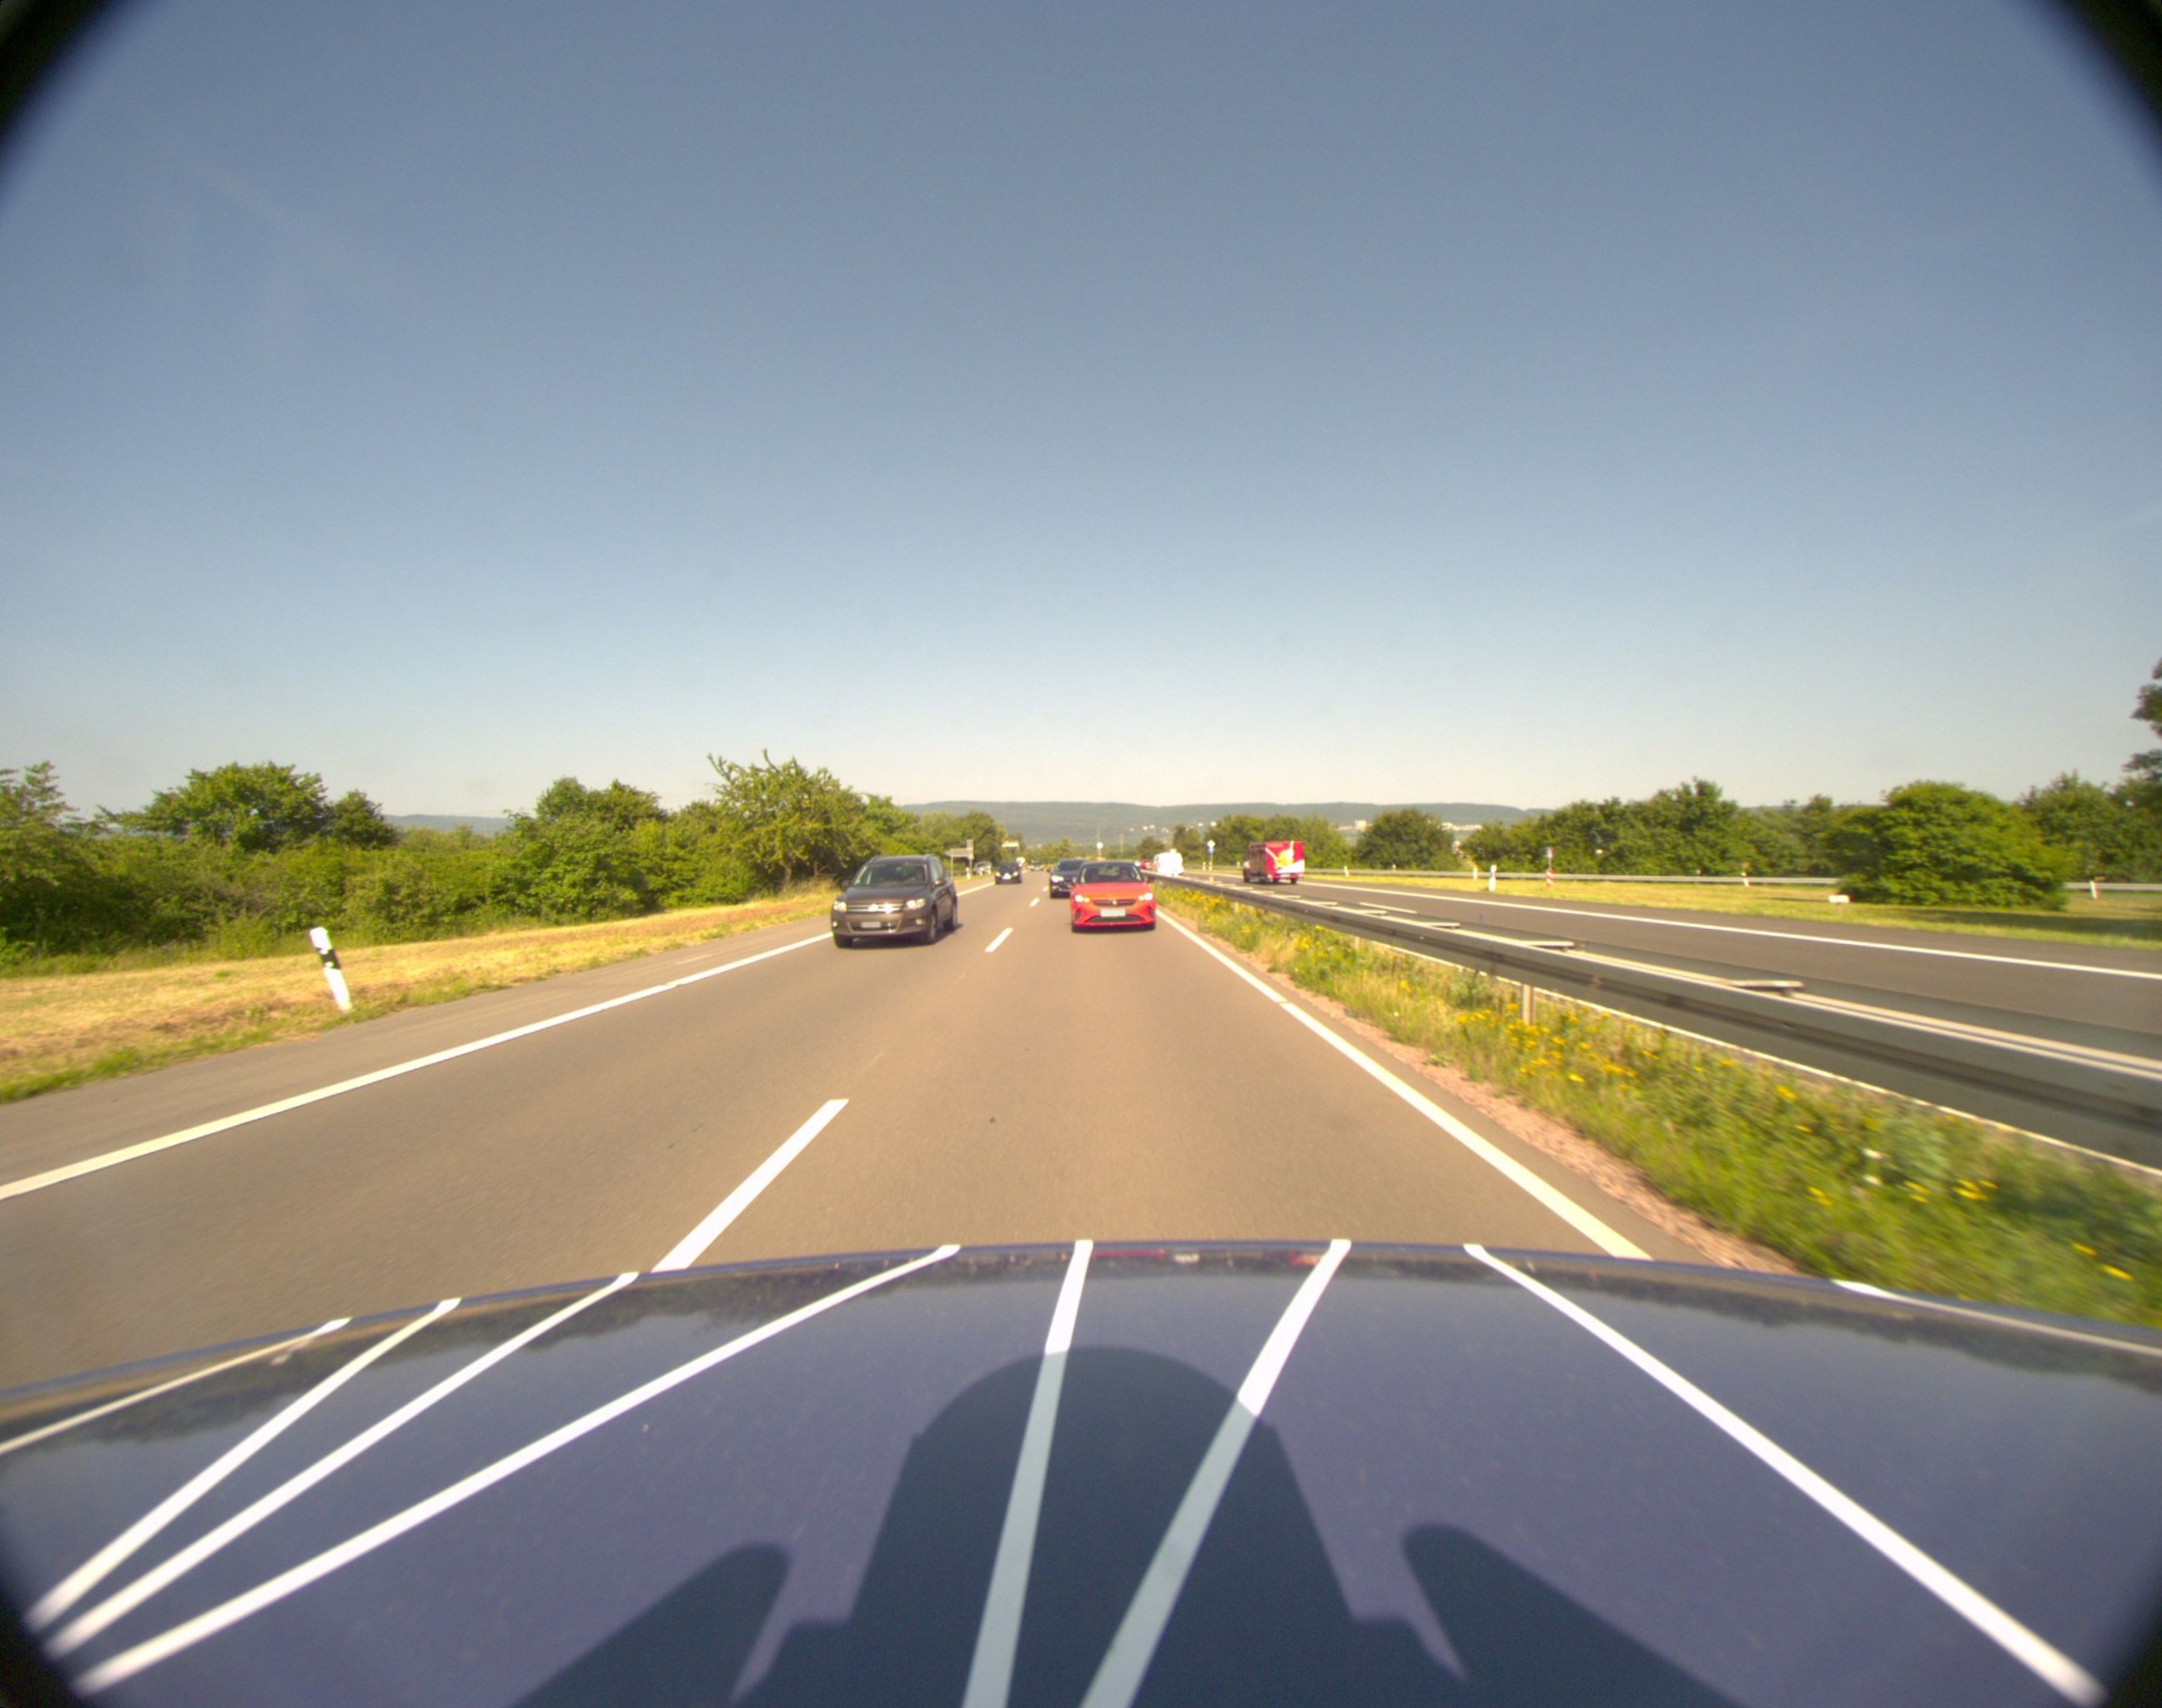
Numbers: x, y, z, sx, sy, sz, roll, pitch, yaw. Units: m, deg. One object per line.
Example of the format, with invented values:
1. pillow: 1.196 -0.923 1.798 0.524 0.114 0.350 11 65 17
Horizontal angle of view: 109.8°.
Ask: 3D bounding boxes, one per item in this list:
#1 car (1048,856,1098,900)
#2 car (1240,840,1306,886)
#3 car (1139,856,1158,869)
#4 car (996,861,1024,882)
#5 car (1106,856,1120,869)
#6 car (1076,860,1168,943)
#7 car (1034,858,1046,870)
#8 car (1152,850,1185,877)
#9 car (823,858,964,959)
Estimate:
1. car: -0.267 0.876 29.743 1.788 1.524 4.375 -2 0 0
2. car: 10.786 0.437 43.170 2.119 2.361 5.880 -2 1 0
3. car: 9.091 1.109 102.805 1.999 1.630 3.999 -2 1 -1
4. car: -4.627 1.115 49.805 1.601 1.241 3.998 -2 1 -2
5. car: 4.585 1.174 109.770 1.864 1.656 3.999 -2 1 0
6. car: 0.827 0.926 16.698 1.713 1.429 4.411 -2 1 1
7. car: -6.301 1.543 116.765 1.768 1.652 3.999 -2 1 -1
8. car: 6.998 0.713 60.963 1.999 2.002 4.517 -2 1 -1
9. car: -3.551 0.950 15.217 1.790 1.637 4.147 -2 1 -1
